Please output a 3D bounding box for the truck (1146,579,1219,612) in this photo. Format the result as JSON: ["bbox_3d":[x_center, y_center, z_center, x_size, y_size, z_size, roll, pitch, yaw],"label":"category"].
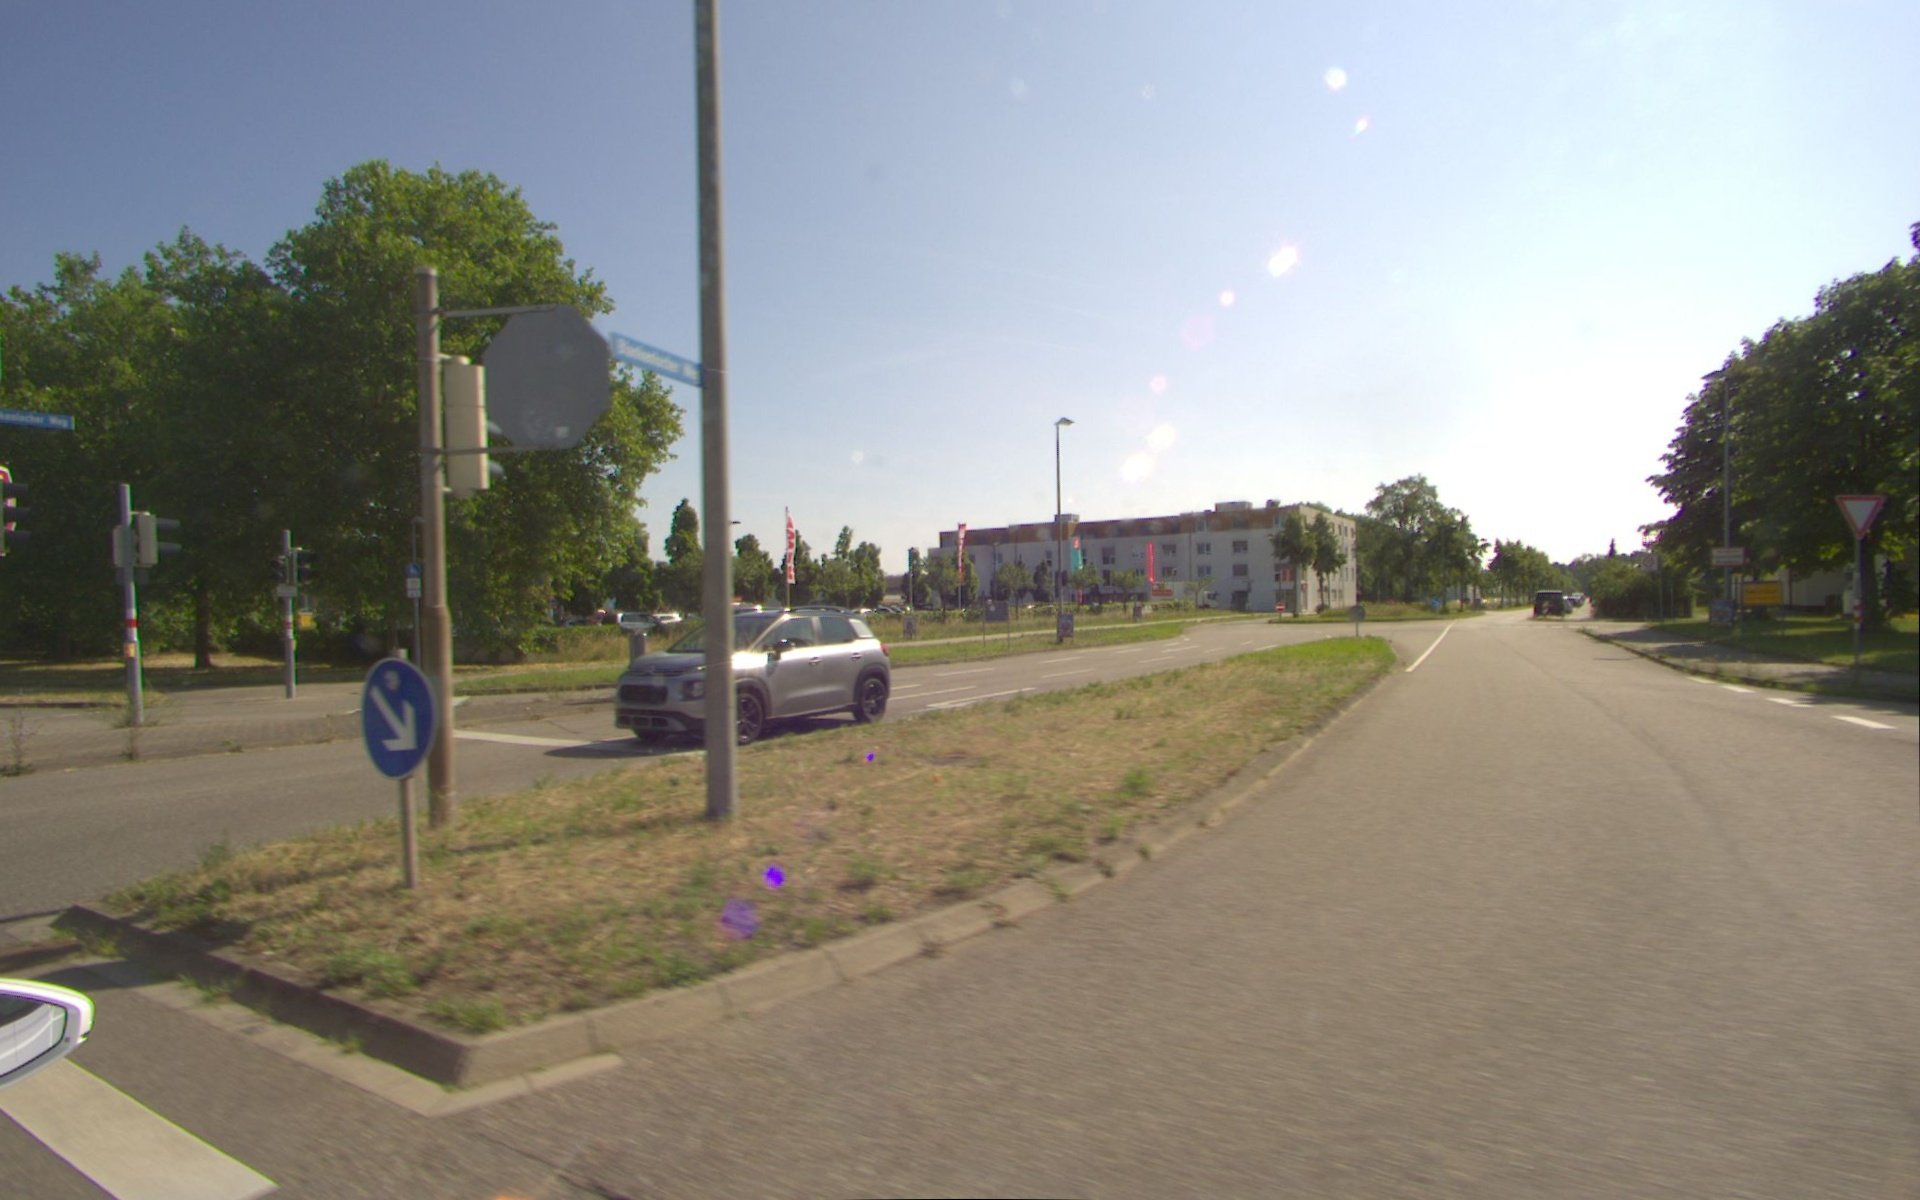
[{"bbox_3d":[25.700,-0.527,116.104,8.098,3.592,2.631,-1,0,11],"label":"truck"}]

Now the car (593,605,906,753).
[{"bbox_3d":[-2.573,0.902,13.182,1.718,1.584,4.043,-1,0,31],"label":"car"}]

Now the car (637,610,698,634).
[{"bbox_3d":[-23.552,1.775,80.795,1.962,1.773,4.476,-1,0,37],"label":"car"}]

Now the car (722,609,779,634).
[{"bbox_3d":[-16.096,1.638,77.084,1.976,1.751,3.969,-1,0,40],"label":"car"}]

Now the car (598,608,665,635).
[{"bbox_3d":[-23.001,1.478,70.212,1.976,1.751,3.969,-1,0,40],"label":"car"}]

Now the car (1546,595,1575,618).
[{"bbox_3d":[55.259,0.613,92.053,1.974,1.950,3.976,-2,-2,35],"label":"car"}]

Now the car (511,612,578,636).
[{"bbox_3d":[-32.288,1.841,77.891,1.962,1.773,4.476,-1,0,37],"label":"car"}]

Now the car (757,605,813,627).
[{"bbox_3d":[-15.340,1.407,87.900,4.450,1.773,1.974,-1,0,-36],"label":"car"}]

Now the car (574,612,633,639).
[{"bbox_3d":[-28.319,2.031,79.709,1.976,2.040,3.968,-1,0,40],"label":"car"}]

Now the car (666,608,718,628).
[{"bbox_3d":[-25.609,1.682,95.875,1.967,1.773,4.467,-1,0,43],"label":"car"}]

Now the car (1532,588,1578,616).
[{"bbox_3d":[41.295,0.122,69.469,1.979,1.813,3.964,-1,0,43],"label":"car"}]
